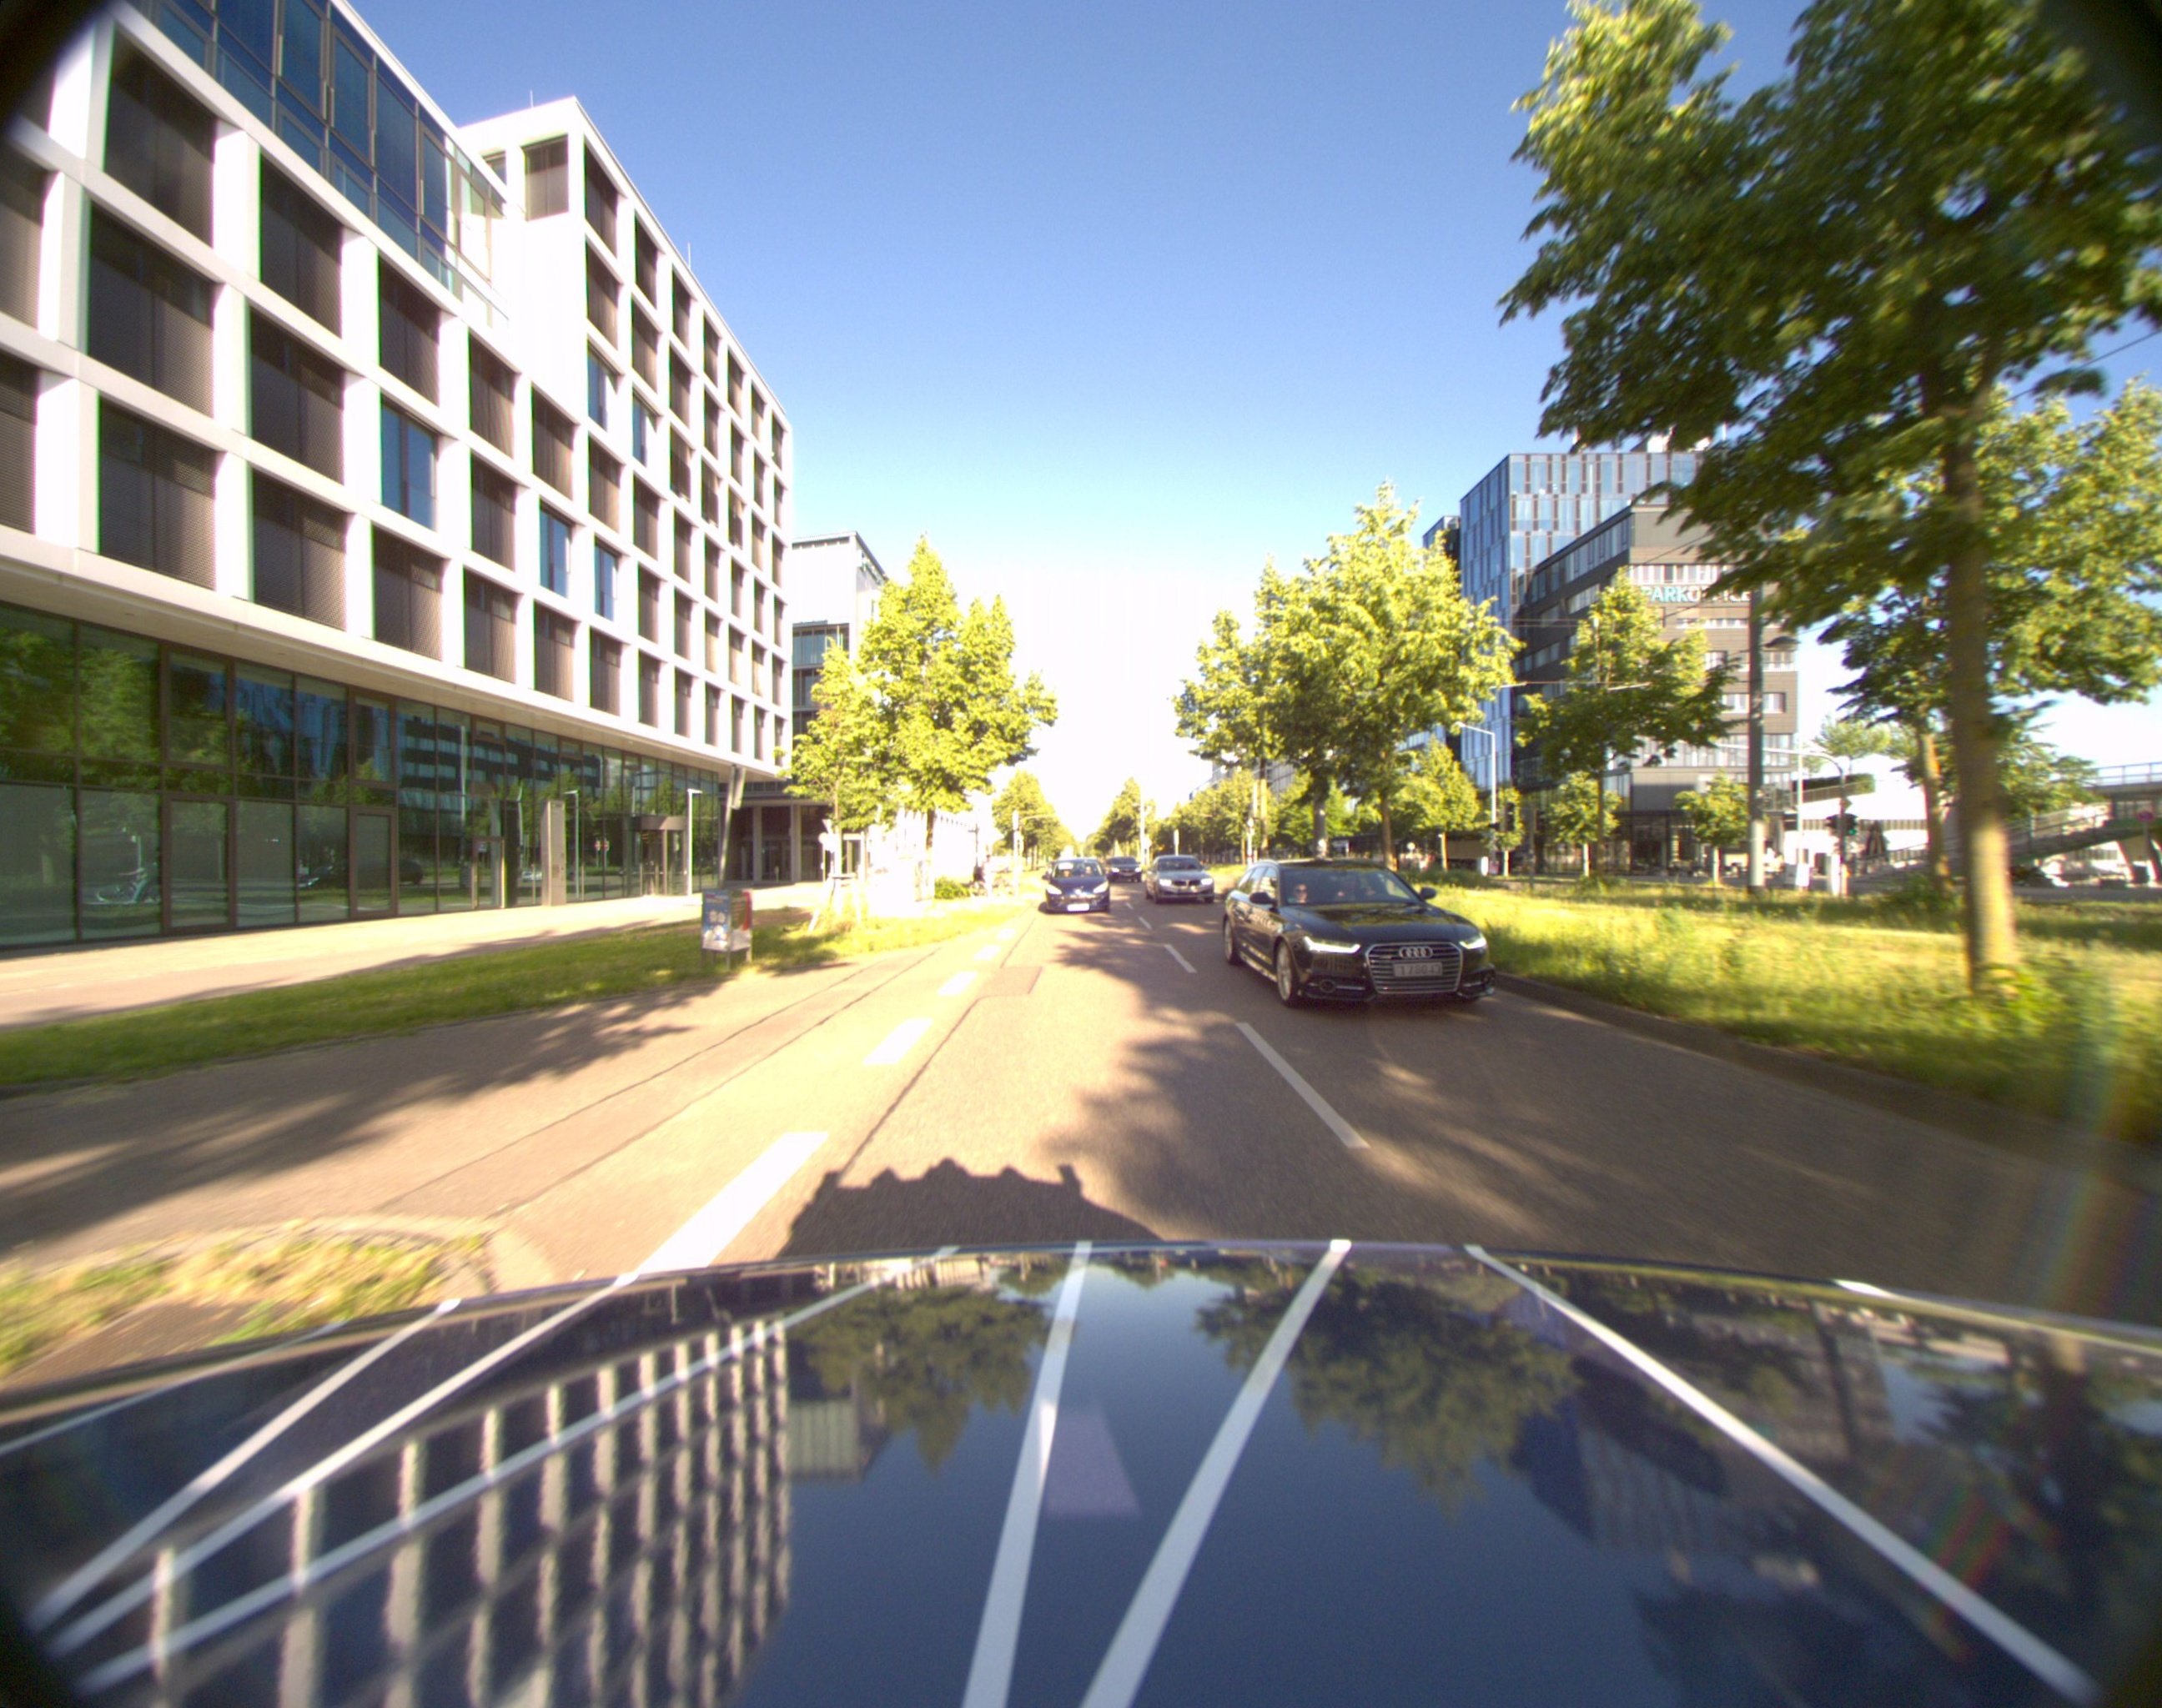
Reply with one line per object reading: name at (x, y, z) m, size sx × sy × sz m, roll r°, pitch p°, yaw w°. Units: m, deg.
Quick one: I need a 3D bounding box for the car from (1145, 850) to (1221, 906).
car at (3.218, 0.699, 24.729) m, size 1.886 × 1.569 × 4.277 m, roll -2°, pitch 1°, yaw 1°

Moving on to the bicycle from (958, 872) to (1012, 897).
bicycle at (-3.619, 1.136, 28.724) m, size 1.928 × 0.899 × 0.647 m, roll 0°, pitch 0°, yaw 3°

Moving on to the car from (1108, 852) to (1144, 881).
car at (2.609, 0.679, 44.489) m, size 1.950 × 1.514 × 4.000 m, roll -2°, pitch 1°, yaw 3°

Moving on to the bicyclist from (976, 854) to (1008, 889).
bicyclist at (-3.366, 0.661, 28.724) m, size 1.086 × 1.315 × 0.639 m, roll 0°, pitch 1°, yaw 3°

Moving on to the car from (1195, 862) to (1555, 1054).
car at (2.704, 0.852, 8.530) m, size 1.958 × 1.471 × 5.084 m, roll -1°, pitch -1°, yaw -1°

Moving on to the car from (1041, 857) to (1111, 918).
car at (-0.066, 0.866, 21.670) m, size 1.766 × 1.462 × 4.000 m, roll -2°, pitch 1°, yaw 2°
